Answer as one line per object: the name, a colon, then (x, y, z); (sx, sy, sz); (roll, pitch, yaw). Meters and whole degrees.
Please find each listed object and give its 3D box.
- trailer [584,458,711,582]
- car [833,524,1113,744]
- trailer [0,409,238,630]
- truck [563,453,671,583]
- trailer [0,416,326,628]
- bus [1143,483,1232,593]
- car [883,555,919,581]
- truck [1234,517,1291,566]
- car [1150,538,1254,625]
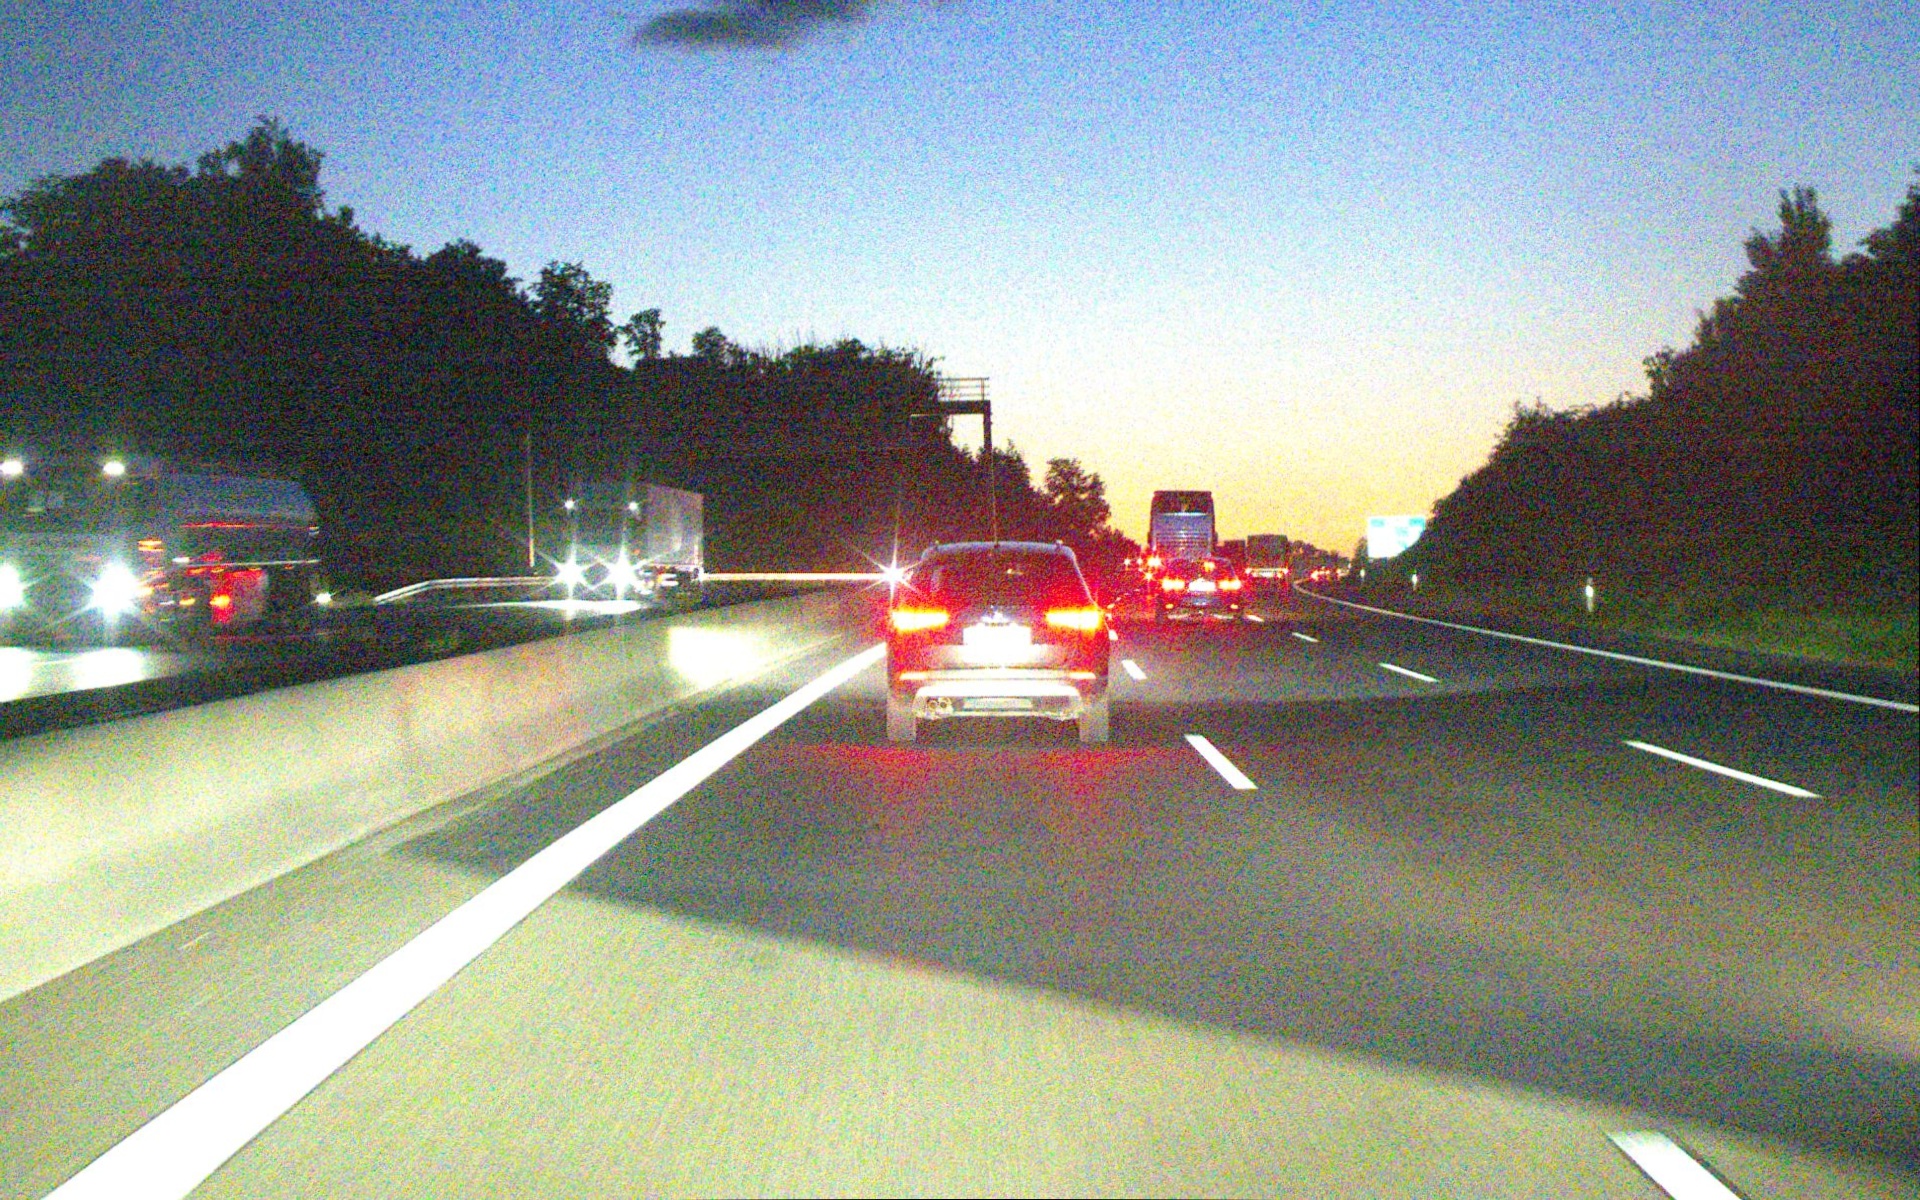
trailer: (-11.643, -2.931, 129.527); (2.852, 4.418, 13.980); (1, 1, 3)
car: (0.113, 0.215, 28.269); (2.106, 1.612, 4.205); (1, 2, 0)
trailer: (-15.247, -1.390, 60.967); (3.057, 3.676, 7.229); (1, 1, 2)
truck: (-12.028, -2.832, 120.964); (2.852, 4.418, 6.396); (1, 1, 3)
trailer: (-15.038, -1.428, 66.036); (3.057, 3.676, 11.686); (1, 1, 2)
bus: (9.360, -2.408, 140.029); (2.653, 3.980, 14.697); (-2, -1, 7)
car: (-3.281, -1.820, 192.502); (1.813, 1.448, 4.133); (0, 1, 2)
truck: (18.921, -3.653, 215.698); (2.546, 3.005, 9.053); (1, 1, -1)
car: (5.180, -0.366, 73.987); (1.911, 1.724, 4.000); (3, 0, 1)
